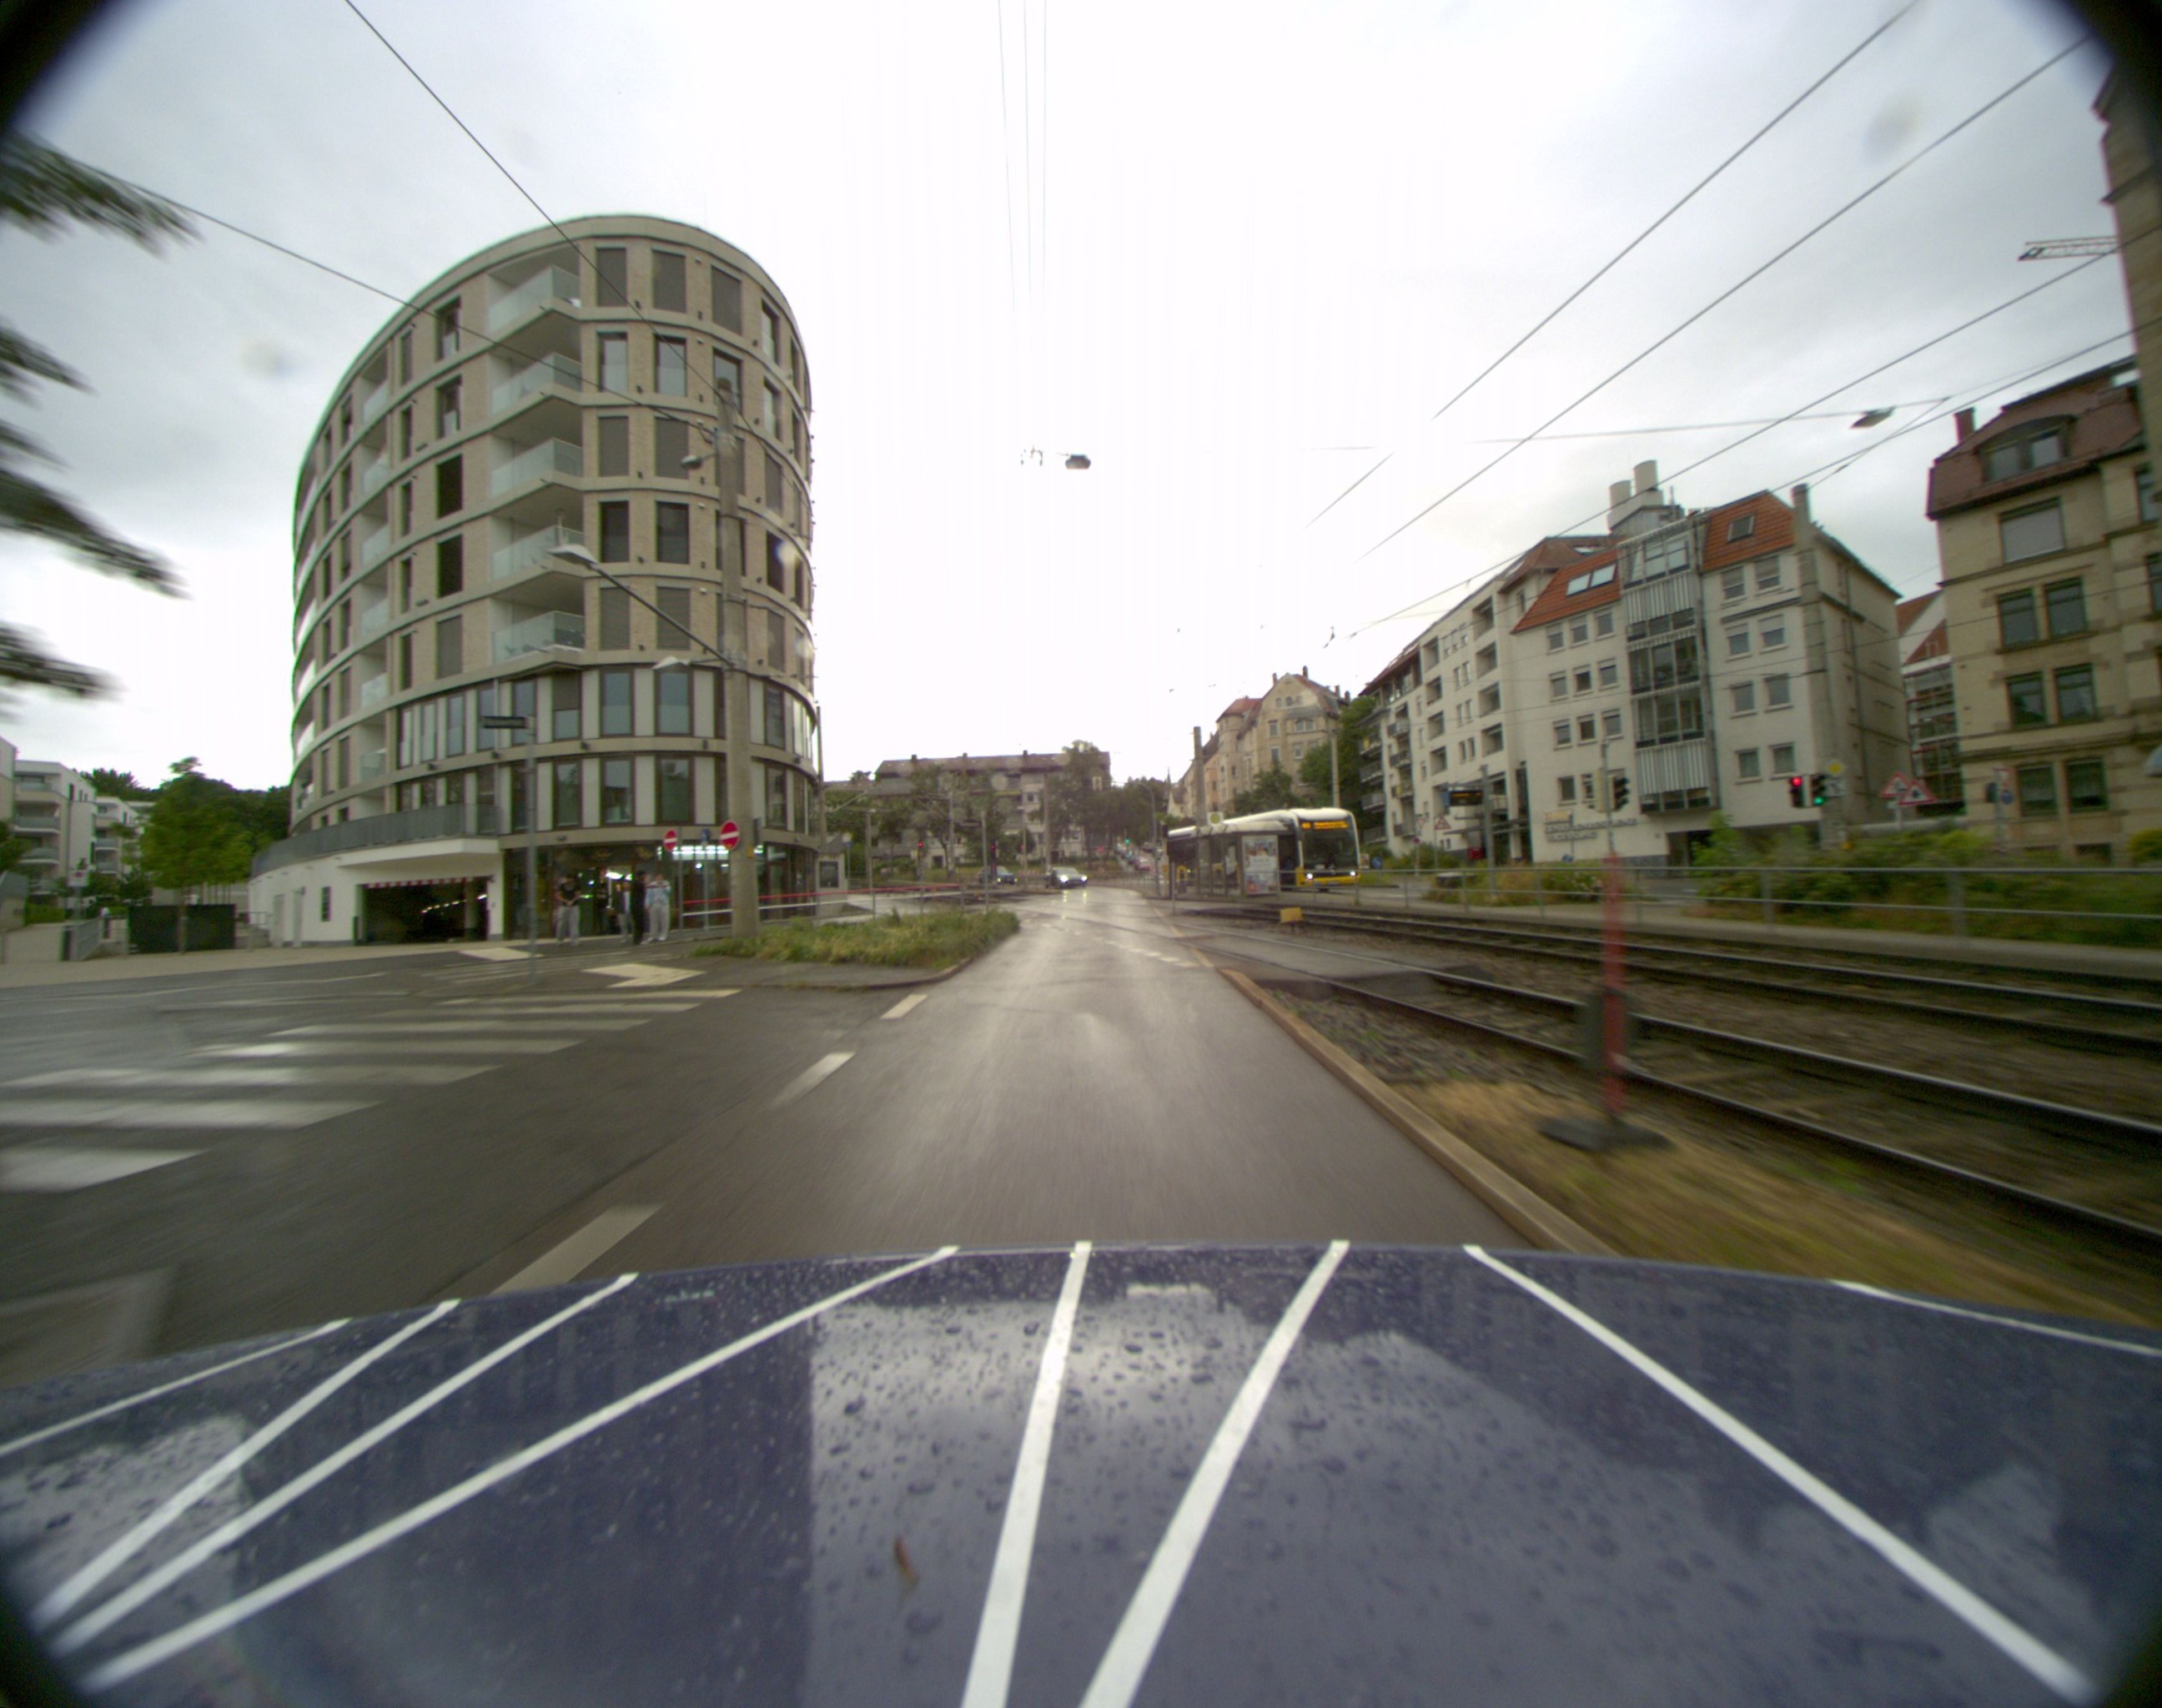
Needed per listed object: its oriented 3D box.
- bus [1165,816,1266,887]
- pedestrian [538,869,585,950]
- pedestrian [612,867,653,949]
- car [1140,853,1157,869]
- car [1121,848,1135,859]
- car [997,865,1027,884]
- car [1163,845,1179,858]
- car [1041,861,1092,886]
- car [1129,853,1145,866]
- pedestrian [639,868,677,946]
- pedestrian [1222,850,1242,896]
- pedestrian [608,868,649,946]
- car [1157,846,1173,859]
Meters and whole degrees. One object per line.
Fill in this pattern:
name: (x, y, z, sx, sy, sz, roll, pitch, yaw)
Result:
bus: (7.108, -0.102, 41.723, 2.599, 3.449, 9.100, -1, 0, -9)
pedestrian: (-13.179, 1.383, 19.285, 0.593, 2.002, 0.891, -1, 0, -6)
pedestrian: (-11.277, 1.334, 19.128, 0.685, 2.001, 0.785, 0, 0, -14)
car: (8.604, 0.898, 96.933, 1.998, 2.001, 4.001, -1, -1, 2)
car: (7.802, -0.118, 125.922, 1.805, 1.824, 4.282, -1, 0, -3)
car: (-5.496, 1.638, 61.338, 1.998, 1.355, 4.000, -2, 0, 0)
car: (13.202, -0.406, 112.037, 1.680, 1.824, 3.665, -1, 0, -4)
car: (-1.040, 1.310, 51.695, 1.815, 1.606, 4.296, -2, 0, -25)
car: (8.236, 0.848, 112.783, 1.805, 1.824, 4.282, -1, 0, -3)
pedestrian: (-11.207, 1.369, 20.140, 0.657, 2.001, 0.890, 0, 0, -14)
pedestrian: (5.820, 0.724, 29.330, 0.578, 1.742, 0.543, -1, 0, -12)
pedestrian: (-11.932, 1.380, 20.071, 0.593, 2.001, 0.891, 0, 0, -6)
car: (12.776, -0.230, 115.889, 1.999, 2.002, 4.000, -1, 0, -1)
